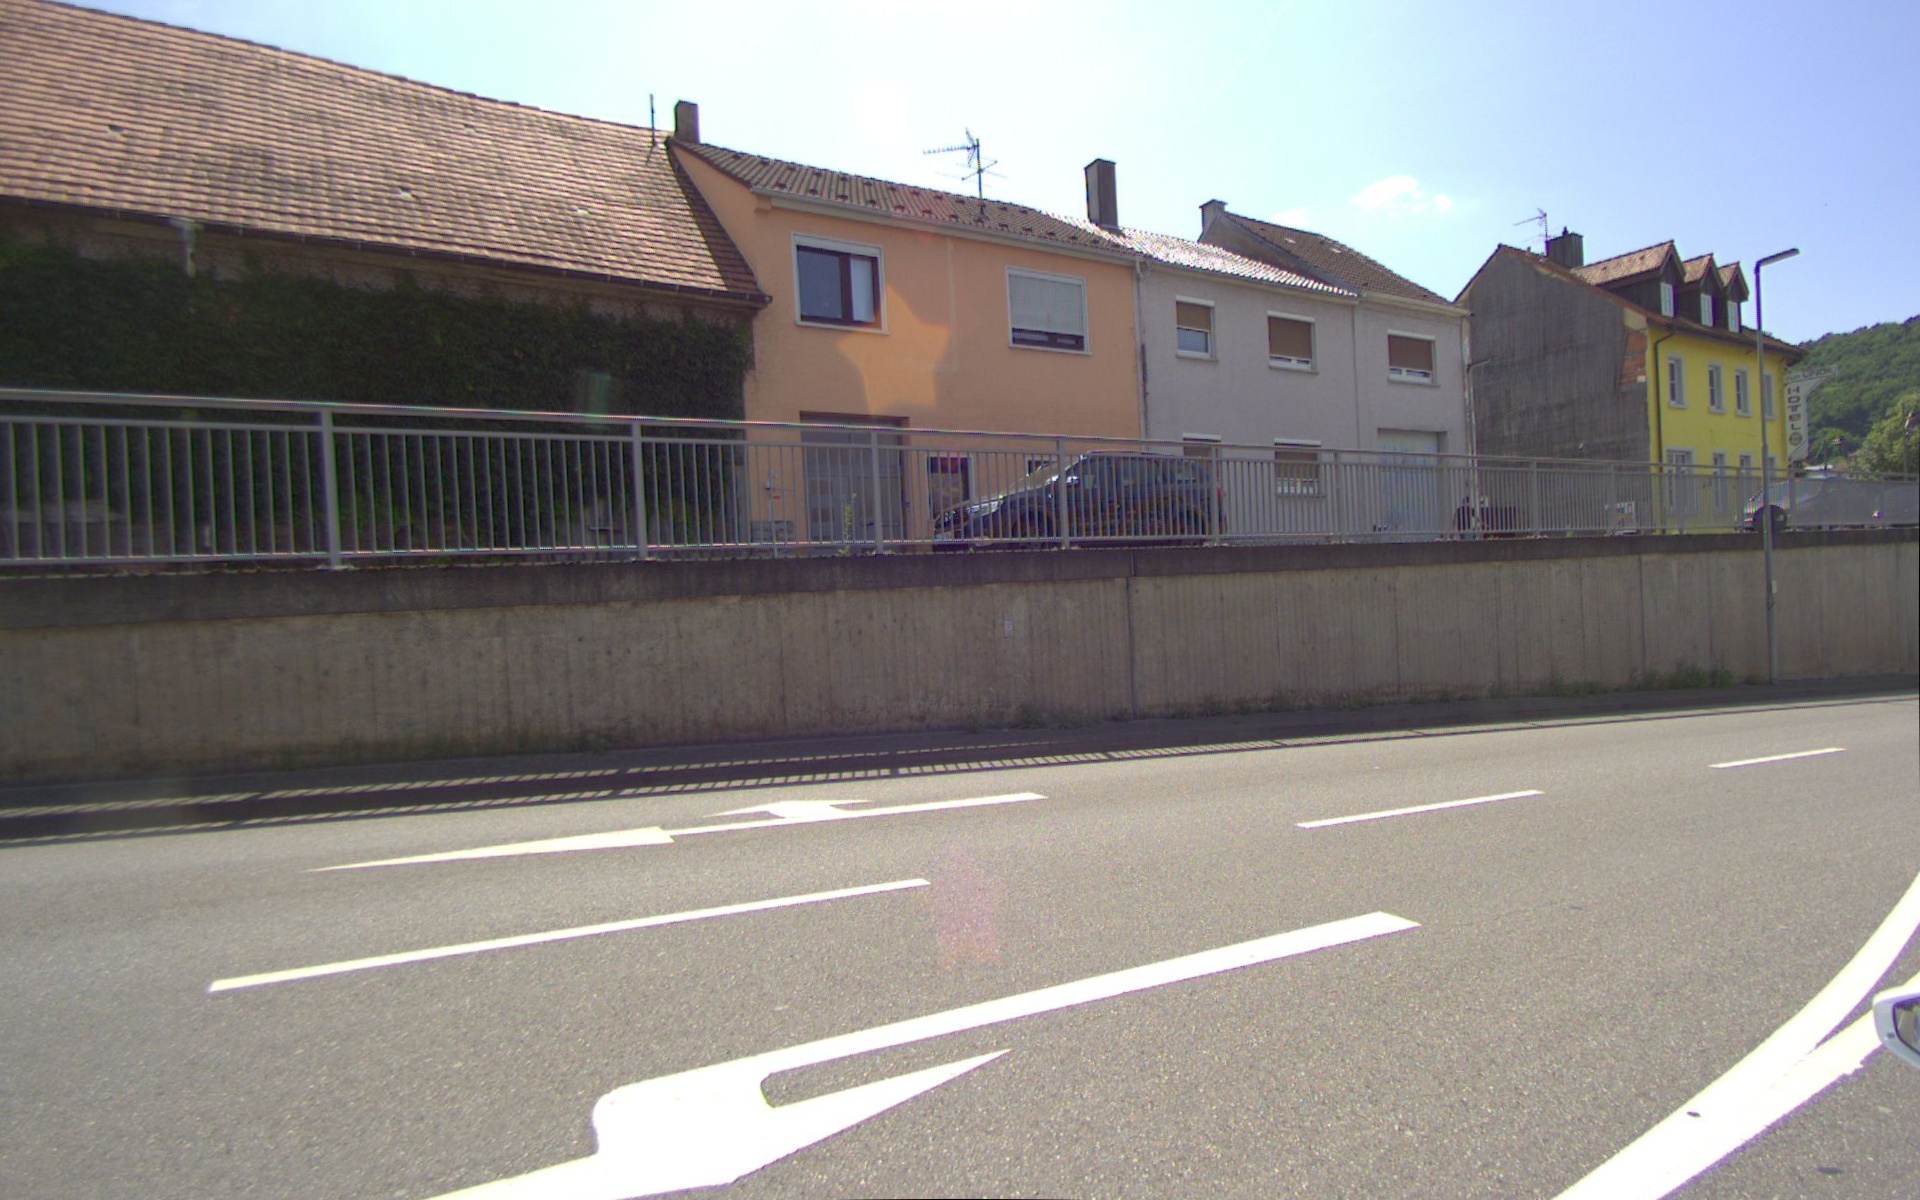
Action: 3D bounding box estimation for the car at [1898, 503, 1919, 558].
[{"bbox_3d":[31.922,-2.254,32.113,3.955,1.690,1.892,-2,0,-32],"label":"car"}]

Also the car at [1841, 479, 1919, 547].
[{"bbox_3d":[27.563,-2.473,29.199,4.175,1.728,1.812,-2,0,-32],"label":"car"}]

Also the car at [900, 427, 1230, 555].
[{"bbox_3d":[1.518,-1.389,13.828,4.344,1.424,1.776,-2,0,-32],"label":"car"}]

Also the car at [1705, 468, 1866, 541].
[{"bbox_3d":[20.453,-2.293,24.848,4.344,1.545,1.789,-2,0,-32],"label":"car"}]
